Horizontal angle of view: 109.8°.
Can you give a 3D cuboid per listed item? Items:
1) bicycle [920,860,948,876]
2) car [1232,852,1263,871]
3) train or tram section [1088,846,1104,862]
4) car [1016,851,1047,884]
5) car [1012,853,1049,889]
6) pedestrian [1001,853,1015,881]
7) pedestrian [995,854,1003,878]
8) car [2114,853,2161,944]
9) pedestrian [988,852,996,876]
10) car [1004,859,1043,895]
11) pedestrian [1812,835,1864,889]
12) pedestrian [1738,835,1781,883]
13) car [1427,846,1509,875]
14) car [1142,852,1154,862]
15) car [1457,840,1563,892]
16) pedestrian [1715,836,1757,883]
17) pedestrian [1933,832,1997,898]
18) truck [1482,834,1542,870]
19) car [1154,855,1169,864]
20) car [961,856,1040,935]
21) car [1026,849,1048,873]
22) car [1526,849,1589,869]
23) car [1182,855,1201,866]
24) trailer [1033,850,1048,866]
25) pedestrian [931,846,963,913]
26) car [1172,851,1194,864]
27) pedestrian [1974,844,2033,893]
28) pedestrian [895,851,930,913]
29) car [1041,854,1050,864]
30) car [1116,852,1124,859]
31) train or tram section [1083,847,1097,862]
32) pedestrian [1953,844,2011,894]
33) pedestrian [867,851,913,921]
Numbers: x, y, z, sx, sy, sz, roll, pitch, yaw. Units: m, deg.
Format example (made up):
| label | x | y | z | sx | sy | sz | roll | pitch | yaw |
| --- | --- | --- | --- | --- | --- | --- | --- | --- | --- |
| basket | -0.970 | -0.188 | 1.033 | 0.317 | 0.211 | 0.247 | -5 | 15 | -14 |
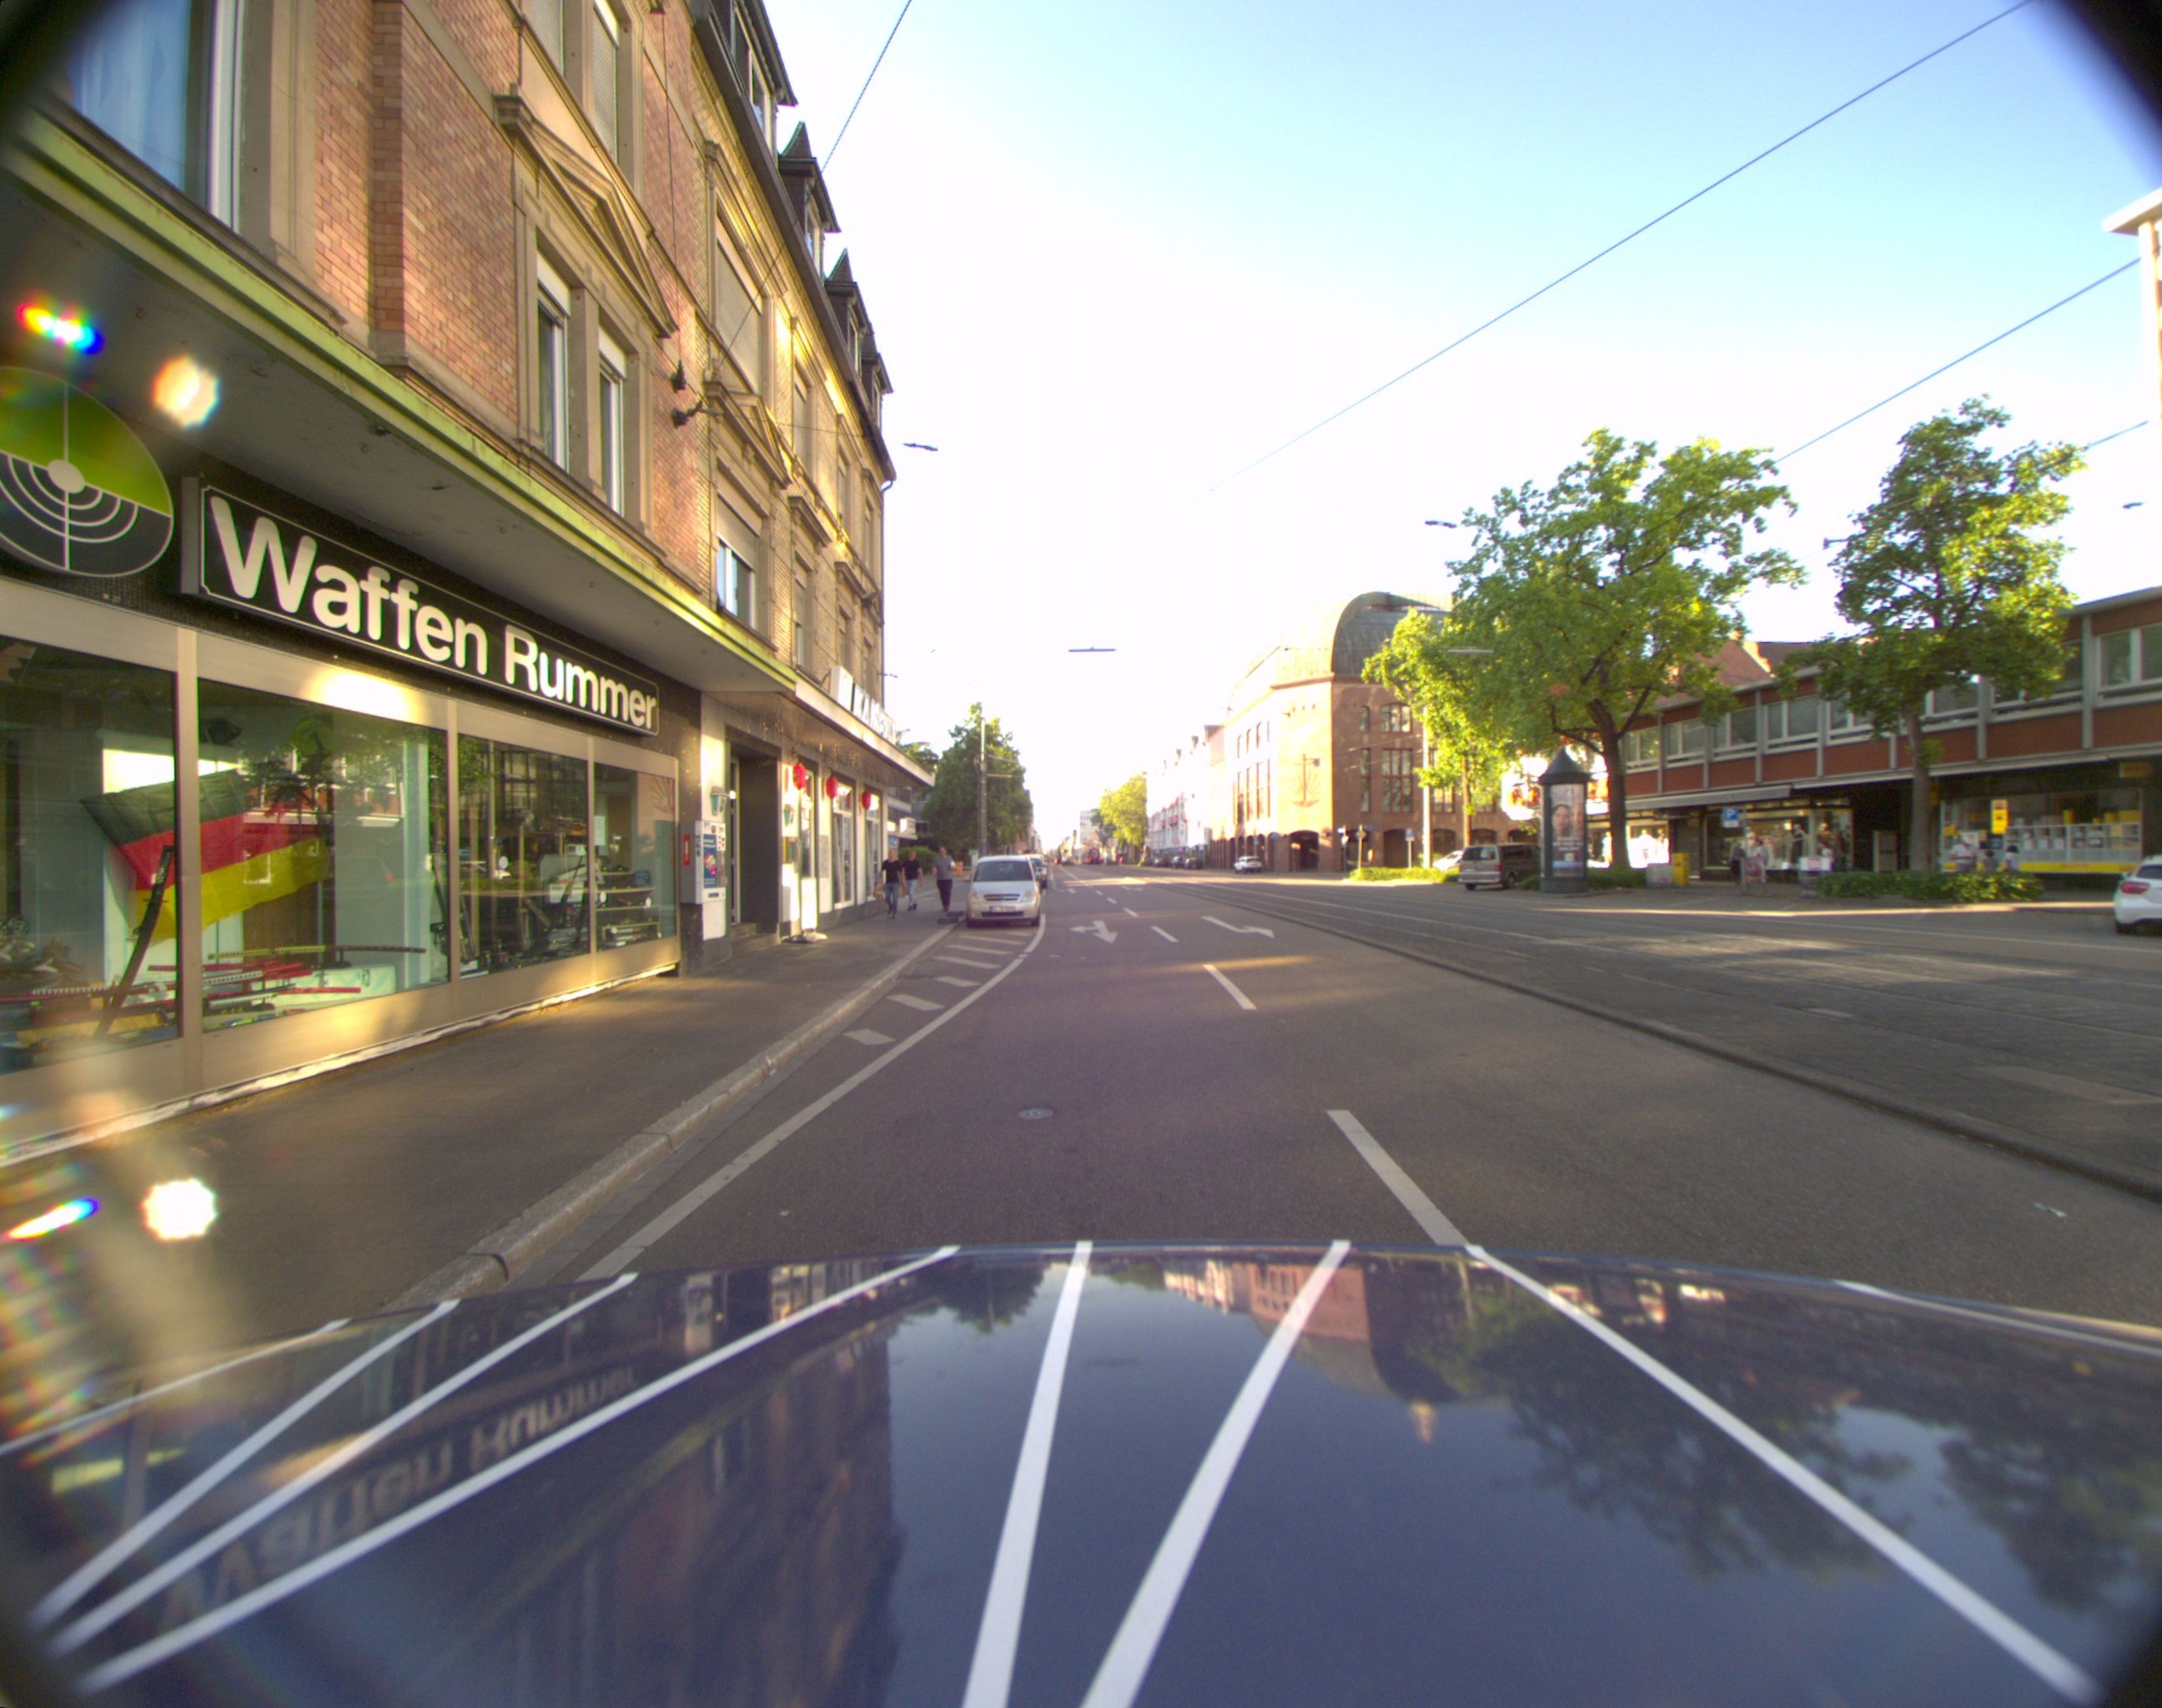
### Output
| label | x | y | z | sx | sy | sz | roll | pitch | yaw |
| --- | --- | --- | --- | --- | --- | --- | --- | --- | --- |
| bicycle | -10.395 | 0.974 | 53.672 | 1.886 | 1.090 | 0.469 | 0 | 1 | -4 |
| car | 15.506 | 0.674 | 70.743 | 1.600 | 1.581 | 4.276 | -3 | 0 | -4 |
| train or tram section | 3.263 | -0.037 | 168.977 | 2.683 | 3.530 | 12.837 | 0 | 0 | -3 |
| car | -2.909 | 0.761 | 45.260 | 1.680 | 1.797 | 4.247 | -2 | 0 | -3 |
| car | -2.649 | 0.856 | 40.552 | 1.825 | 1.747 | 4.473 | -2 | 1 | -3 |
| pedestrian | -4.615 | 0.818 | 48.056 | 0.789 | 1.727 | 0.945 | -1 | 1 | -3 |
| pedestrian | -5.747 | 0.848 | 53.501 | 0.494 | 1.703 | 0.437 | 2 | 1 | -3 |
| car | 20.699 | 0.756 | 14.008 | 4.276 | 1.421 | 1.762 | -3 | 1 | -34 |
| pedestrian | -6.337 | 0.718 | 53.937 | 0.494 | 1.703 | 0.437 | 2 | 1 | -3 |
| car | -2.636 | 1.023 | 35.076 | 1.642 | 1.484 | 3.793 | -3 | 0 | -4 |
| pedestrian | 26.432 | 0.273 | 26.551 | 0.919 | 1.867 | 0.900 | -1 | 1 | -5 |
| pedestrian | 27.832 | 0.189 | 31.172 | 0.996 | 1.937 | 0.900 | -1 | 1 | -5 |
| car | 28.536 | 0.434 | 56.107 | 4.993 | 1.957 | 2.130 | -1 | 3 | -4 |
| car | 12.294 | 0.625 | 139.166 | 1.931 | 1.787 | 4.383 | -1 | 0 | 1 |
| car | 18.611 | 0.470 | 32.896 | 5.130 | 1.918 | 1.849 | -3 | 2 | -34 |
| pedestrian | 26.661 | 0.229 | 30.926 | 0.919 | 1.867 | 0.900 | -1 | 1 | -5 |
| pedestrian | 25.741 | 0.304 | 22.142 | 0.917 | 1.867 | 0.902 | 0 | 1 | 26 |
| truck | 34.254 | -0.180 | 60.526 | 1.856 | 2.747 | 4.528 | -1 | 0 | -7 |
| car | 13.046 | 0.879 | 123.178 | 1.829 | 1.500 | 4.559 | -2 | 0 | -2 |
| car | -1.842 | 0.891 | 18.172 | 1.642 | 1.605 | 3.943 | -1 | 0 | -4 |
| car | -4.035 | 0.625 | 69.921 | 1.882 | 2.009 | 4.904 | -2 | 0 | -2 |
| car | 38.035 | 0.394 | 60.762 | 1.856 | 1.564 | 4.528 | -1 | 0 | -7 |
| car | 14.154 | 0.819 | 97.473 | 1.646 | 1.392 | 3.682 | -2 | 0 | -2 |
| trailer | -5.594 | 0.482 | 105.005 | 1.784 | 2.136 | 5.315 | -2 | 0 | 0 |
| pedestrian | -3.906 | 0.728 | 22.212 | 0.796 | 1.888 | 1.032 | 0 | 1 | -3 |
| car | 13.986 | 0.465 | 104.359 | 1.964 | 1.690 | 4.559 | -2 | 0 | -4 |
| pedestrian | 27.986 | 0.431 | 23.069 | 0.689 | 1.462 | 0.900 | -1 | 0 | -5 |
| pedestrian | -4.837 | 0.792 | 21.860 | 0.813 | 1.746 | 1.032 | 0 | 1 | -3 |
| car | -5.896 | 0.812 | 125.540 | 1.420 | 1.425 | 3.871 | -2 | 0 | -3 |
| car | 11.288 | 0.488 | 220.786 | 1.861 | 1.914 | 3.999 | 0 | 0 | -1 |
| train or tram section | 2.183 | 0.055 | 191.893 | 2.766 | 3.530 | 12.463 | 0 | 0 | -3 |
| pedestrian | 27.274 | 0.438 | 23.007 | 0.689 | 1.488 | 0.900 | -1 | 0 | -5 |
| pedestrian | -4.793 | 0.782 | 19.123 | 0.903 | 1.703 | 1.032 | 2 | 0 | -4 |
